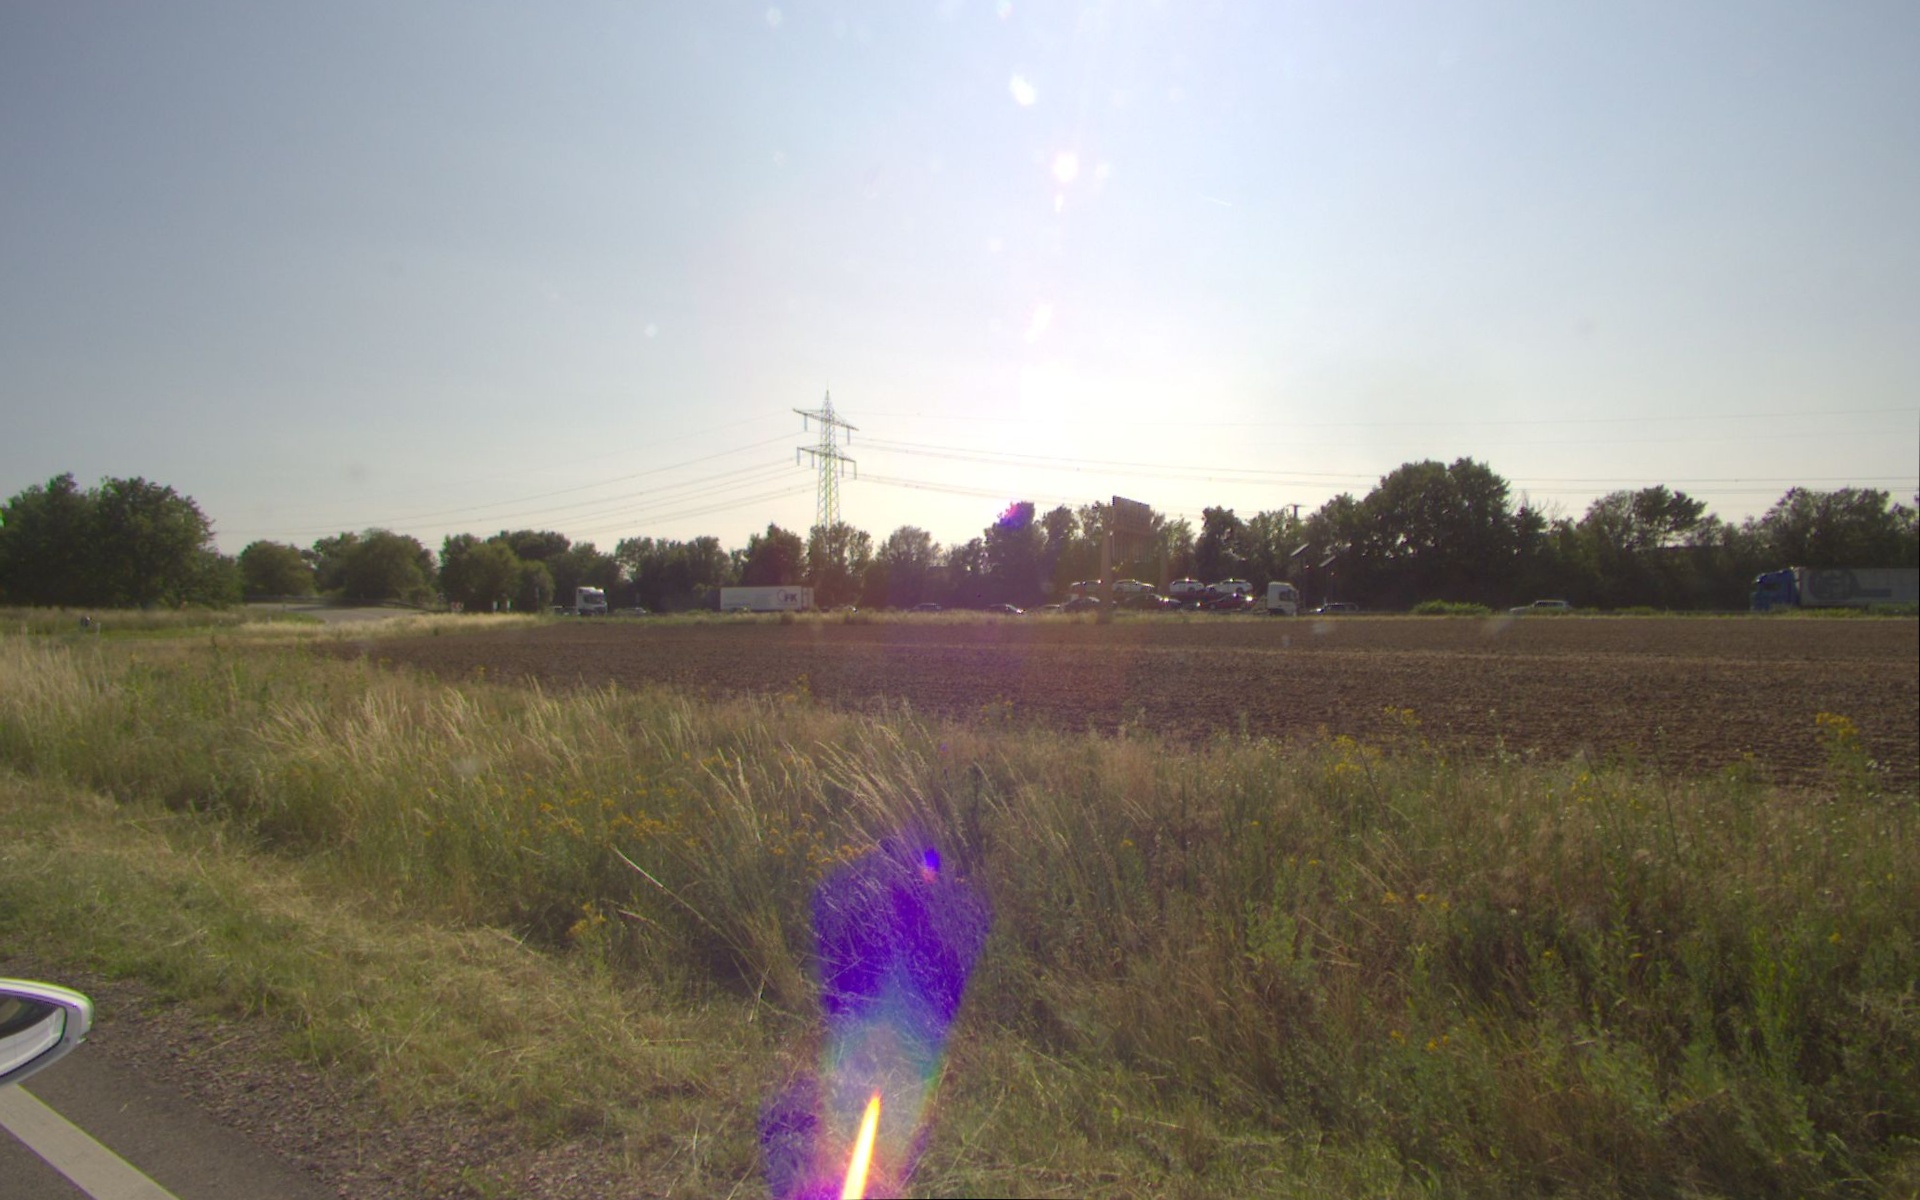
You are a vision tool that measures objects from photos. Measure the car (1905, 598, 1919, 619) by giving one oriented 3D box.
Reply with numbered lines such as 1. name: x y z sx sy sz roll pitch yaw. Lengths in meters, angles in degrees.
1. car: 67.491 0.588 68.703 3.548 1.403 1.490 0 -1 30

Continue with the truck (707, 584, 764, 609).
1. truck: -29.575 -0.453 132.030 6.872 3.311 3.280 0 1 29

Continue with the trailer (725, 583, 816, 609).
1. trailer: -24.483 -0.493 129.150 12.266 3.311 3.280 0 1 29

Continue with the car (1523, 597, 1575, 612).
1. car: 47.453 0.376 80.703 3.528 1.166 1.393 0 -1 31

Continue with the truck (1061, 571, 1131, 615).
1. truck: 14.486 -0.716 106.509 6.602 4.512 3.417 0 1 28

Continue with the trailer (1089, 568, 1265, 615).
1. trailer: 21.973 -0.781 102.465 17.292 4.512 3.417 0 1 28

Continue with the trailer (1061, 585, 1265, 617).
1. trailer: 16.688 0.065 83.791 16.822 2.565 2.509 0 1 29

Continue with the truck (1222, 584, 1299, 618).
1. truck: 23.936 0.067 79.760 5.450 2.565 2.509 0 1 29

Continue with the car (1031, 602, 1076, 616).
1. car: 9.486 0.943 102.114 4.183 1.403 1.849 0 -1 30

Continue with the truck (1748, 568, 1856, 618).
1. truck: 65.632 -0.511 78.202 5.998 3.783 3.066 0 0 32

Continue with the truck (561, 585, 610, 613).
1. truck: -44.159 -0.144 118.035 5.273 3.312 2.510 0 1 28

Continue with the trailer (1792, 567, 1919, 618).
1. trailer: 71.110 -0.547 74.799 13.431 3.782 3.066 0 0 32

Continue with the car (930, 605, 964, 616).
1. car: -1.412 1.100 107.929 3.525 1.166 1.394 0 -1 28

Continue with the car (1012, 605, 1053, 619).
1. car: 6.775 1.105 93.725 3.564 1.250 1.545 0 -2 30
